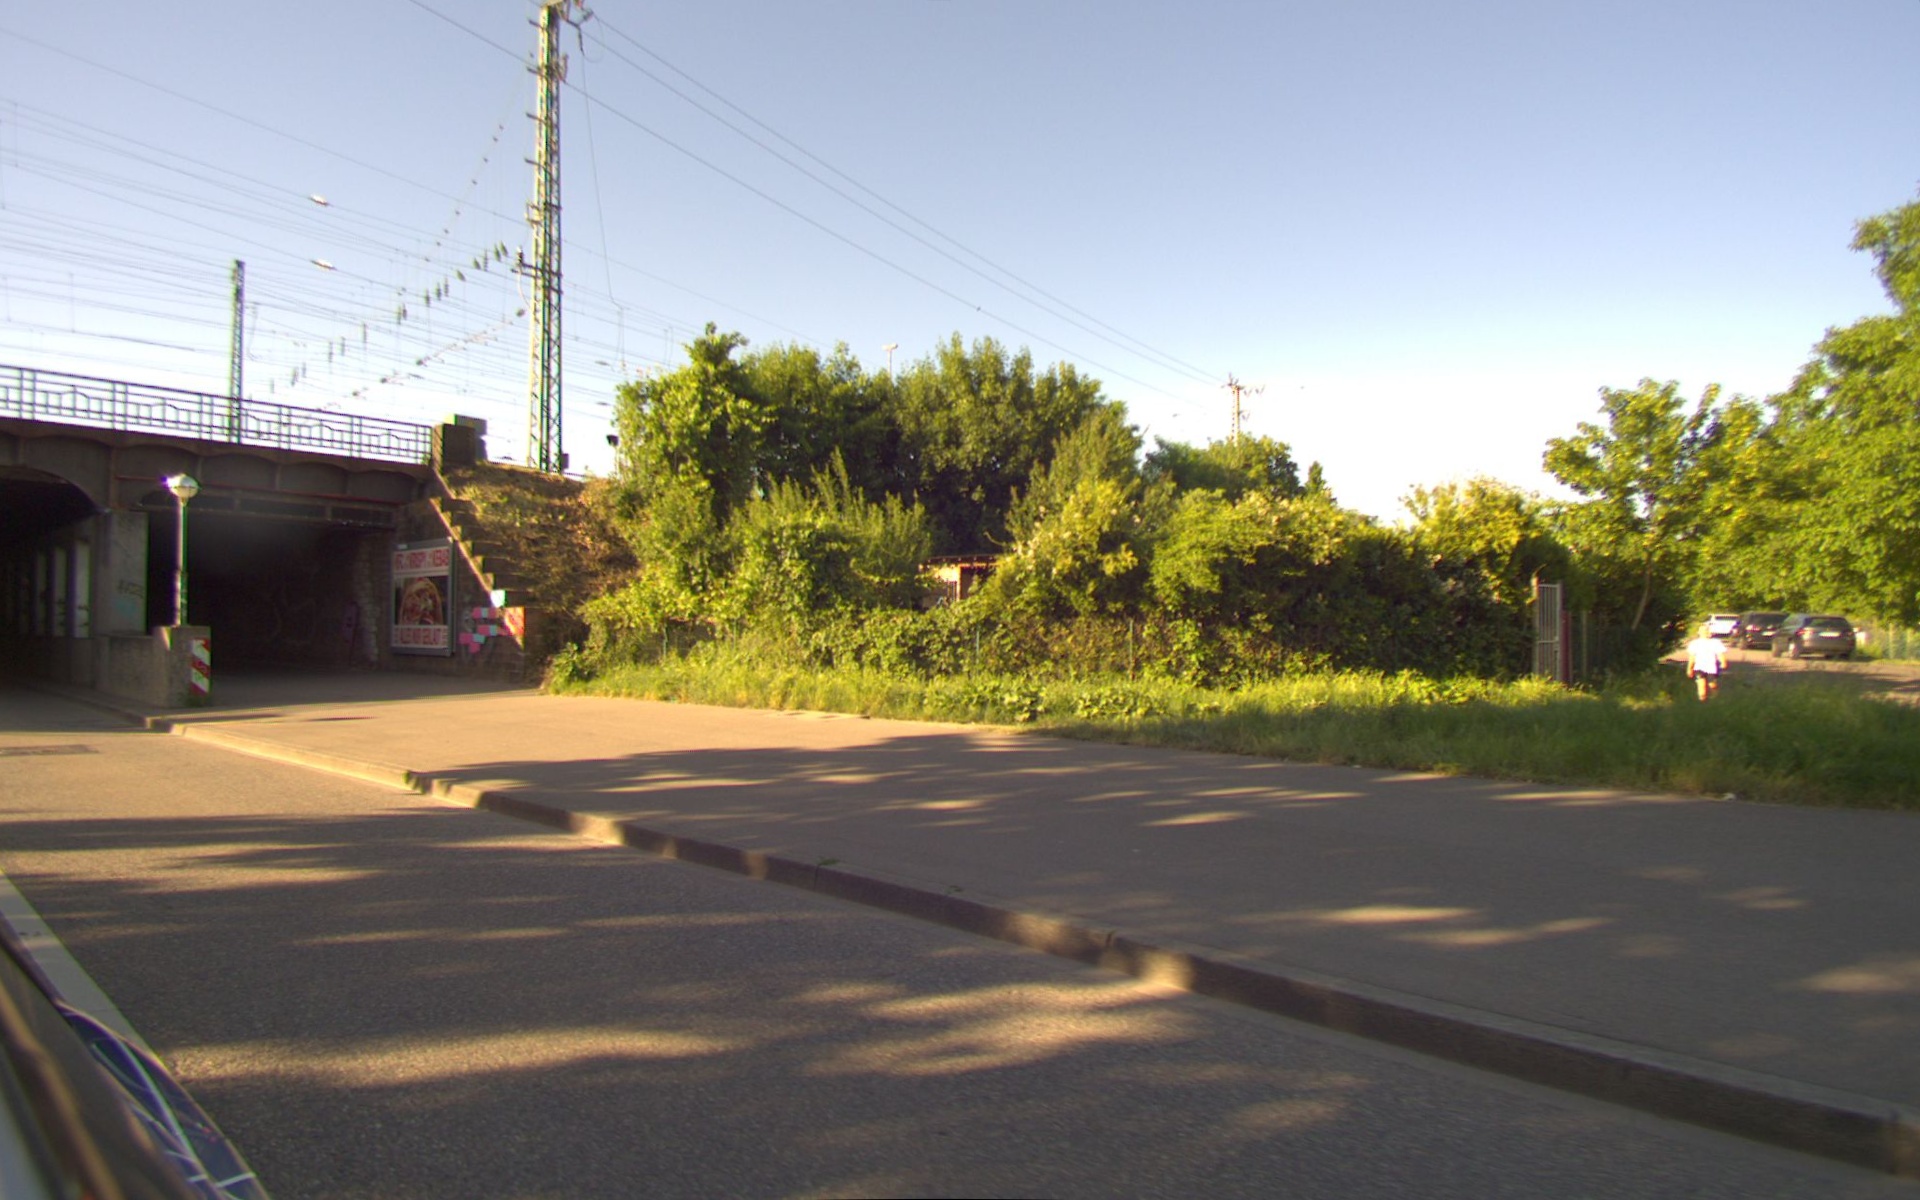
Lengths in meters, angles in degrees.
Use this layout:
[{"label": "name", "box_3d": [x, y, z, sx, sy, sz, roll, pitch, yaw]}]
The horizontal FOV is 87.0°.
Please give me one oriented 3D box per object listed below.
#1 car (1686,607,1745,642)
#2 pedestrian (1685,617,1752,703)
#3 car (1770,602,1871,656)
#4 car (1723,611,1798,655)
[{"label": "car", "box_3d": [40.648, 1.294, 54.511, 1.880, 1.758, 3.999, 2, 0, 28]}, {"label": "pedestrian", "box_3d": [13.165, 1.028, 17.591, 0.811, 1.415, 1.010, 2, -2, 32]}, {"label": "car", "box_3d": [30.899, 1.016, 36.474, 1.880, 1.758, 3.999, 2, 0, 28]}, {"label": "car", "box_3d": [35.686, 1.445, 45.221, 1.880, 1.758, 3.999, 2, 0, 28]}]
